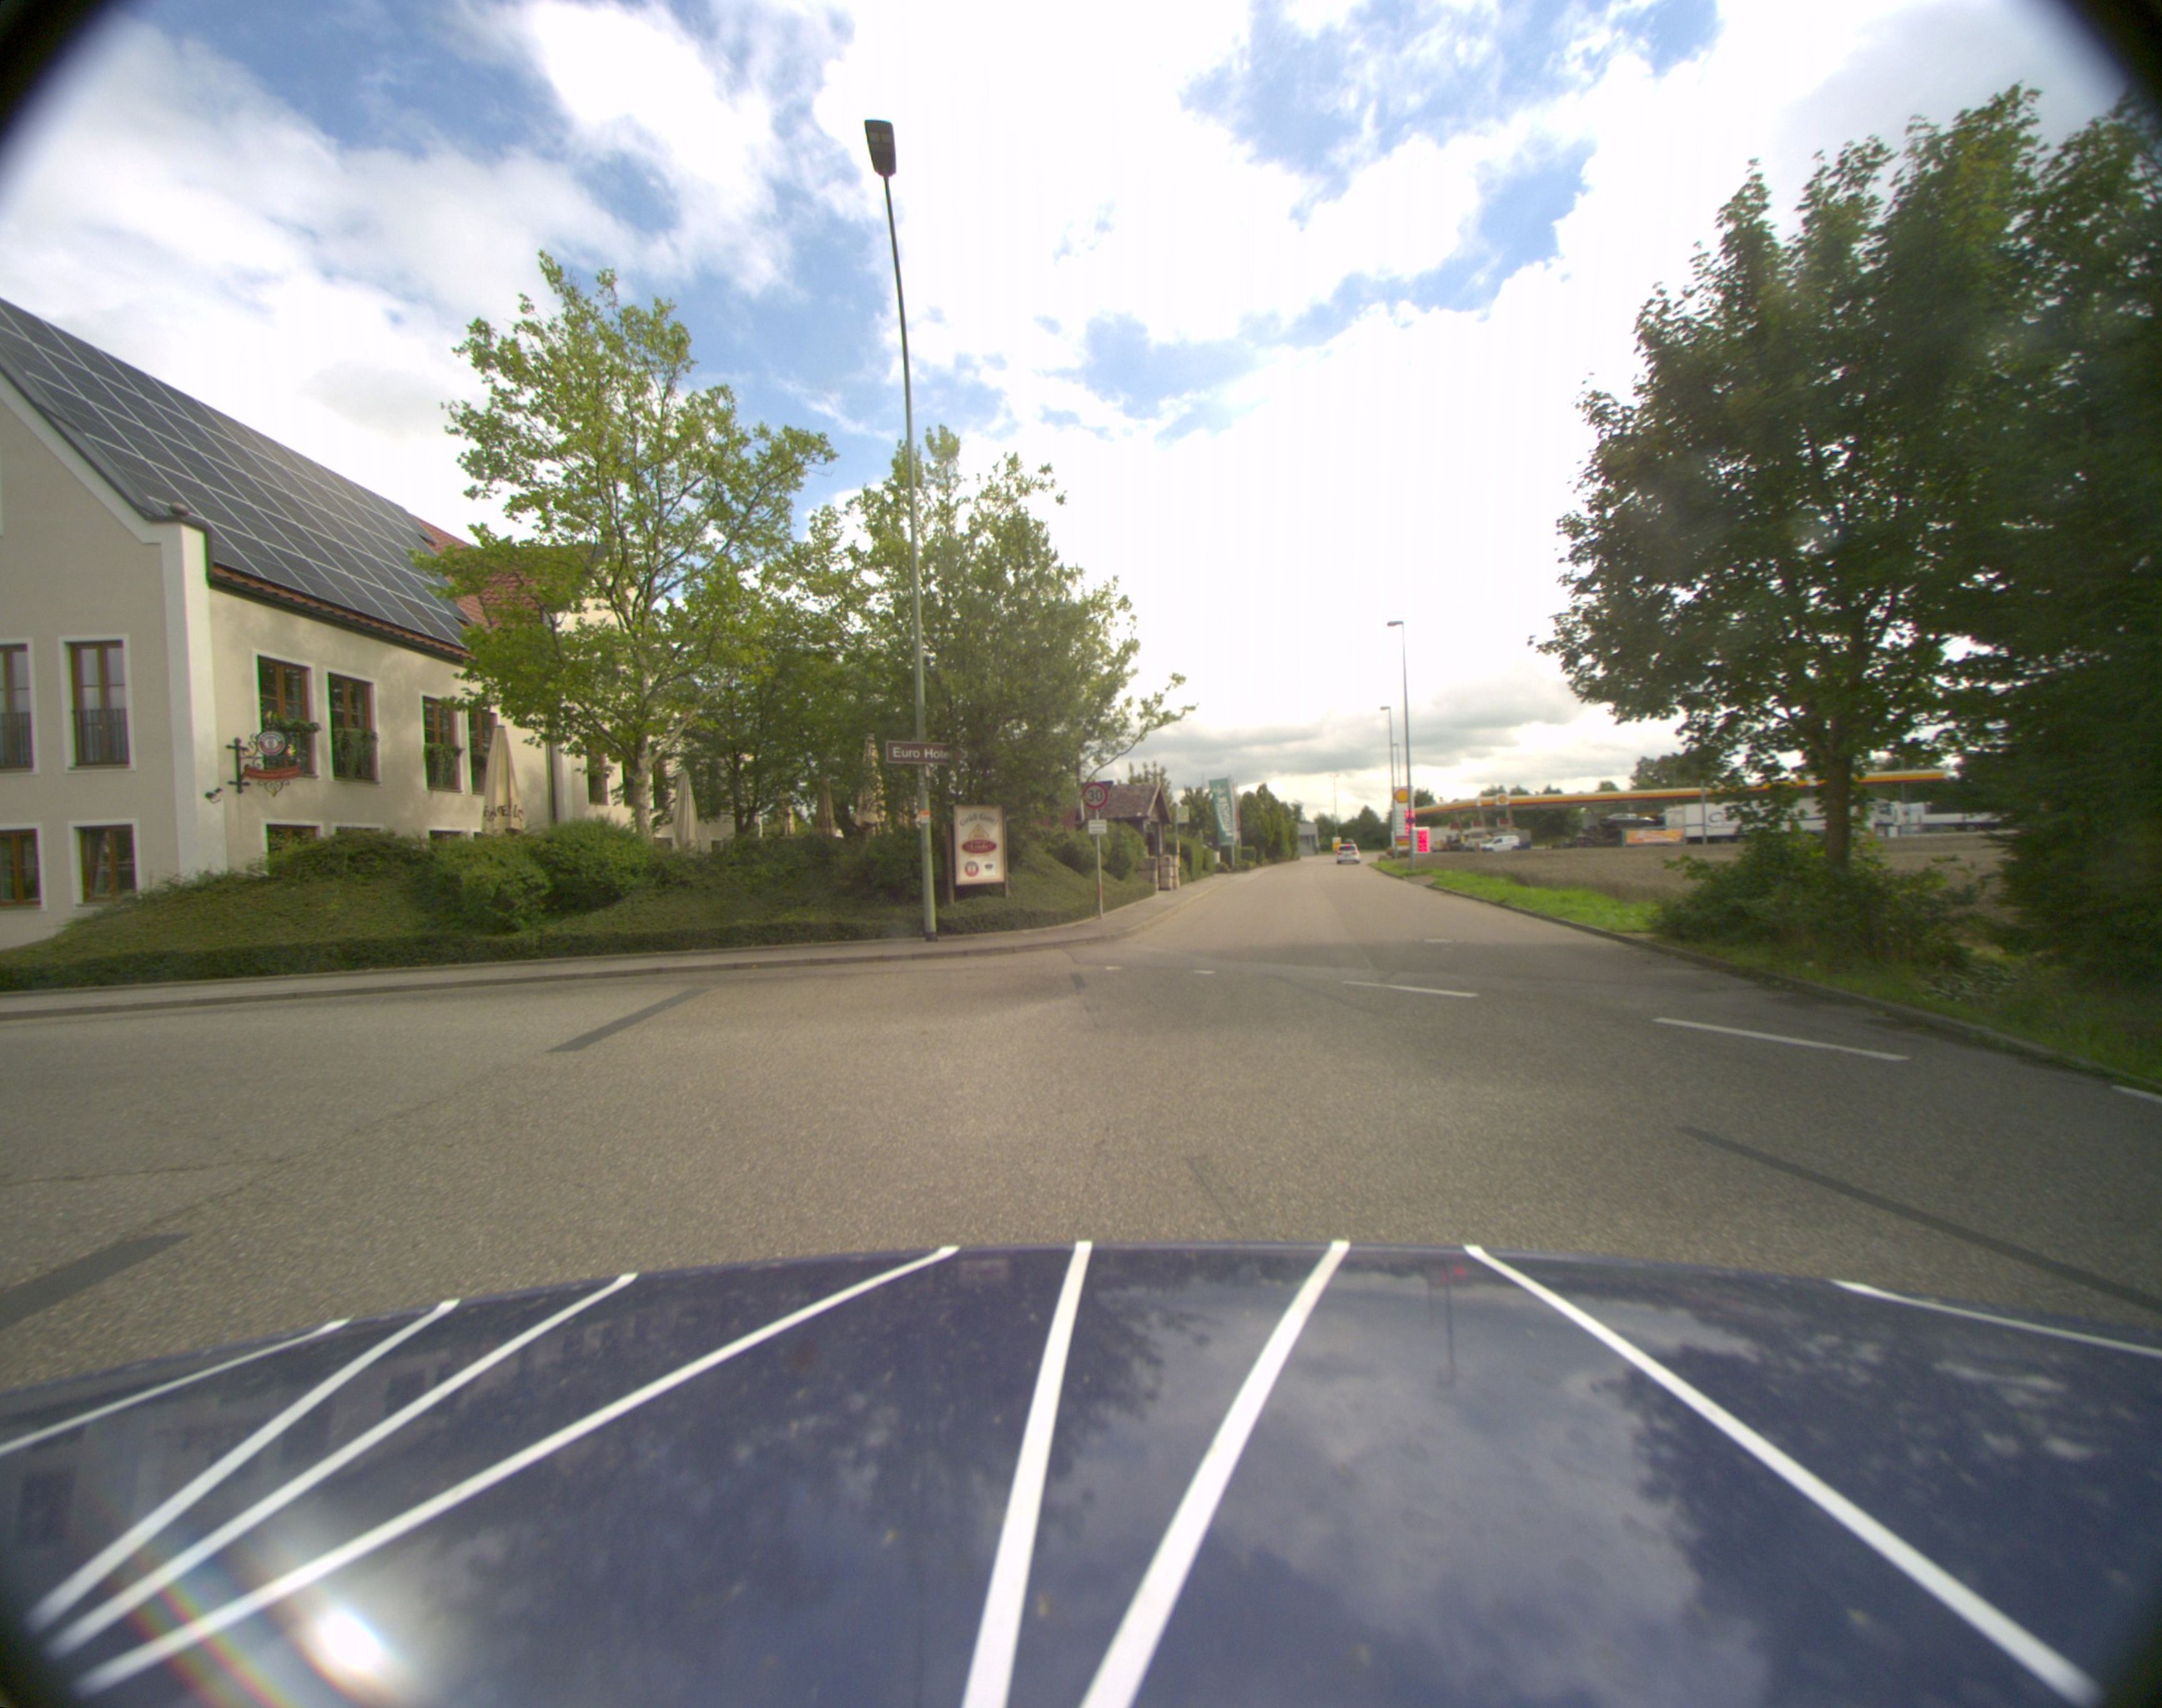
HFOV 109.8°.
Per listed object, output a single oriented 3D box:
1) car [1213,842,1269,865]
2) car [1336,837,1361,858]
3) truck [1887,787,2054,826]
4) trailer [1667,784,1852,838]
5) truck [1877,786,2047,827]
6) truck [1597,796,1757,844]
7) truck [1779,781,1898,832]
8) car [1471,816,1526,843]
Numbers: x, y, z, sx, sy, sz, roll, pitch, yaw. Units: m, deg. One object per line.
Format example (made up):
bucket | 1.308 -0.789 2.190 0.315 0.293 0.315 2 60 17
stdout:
car | 13.557 -0.037 64.363 4.353 1.706 1.659 -2 1 25
car | 22.544 -0.551 64.063 1.701 1.655 4.036 -1 1 15
truck | 107.256 -5.602 92.003 2.829 3.871 12.979 -4 2 -37
trailer | 59.706 -3.752 67.145 12.831 4.001 2.714 -2 1 7
truck | 101.635 -5.396 88.069 2.829 3.871 12.774 -4 2 -39
truck | 56.801 -3.238 72.609 13.249 3.902 2.751 -3 2 -1
truck | 66.035 -4.081 66.409 7.160 4.001 2.714 -2 1 7
car | 46.479 -2.732 84.602 5.815 2.770 2.220 -3 1 -25
